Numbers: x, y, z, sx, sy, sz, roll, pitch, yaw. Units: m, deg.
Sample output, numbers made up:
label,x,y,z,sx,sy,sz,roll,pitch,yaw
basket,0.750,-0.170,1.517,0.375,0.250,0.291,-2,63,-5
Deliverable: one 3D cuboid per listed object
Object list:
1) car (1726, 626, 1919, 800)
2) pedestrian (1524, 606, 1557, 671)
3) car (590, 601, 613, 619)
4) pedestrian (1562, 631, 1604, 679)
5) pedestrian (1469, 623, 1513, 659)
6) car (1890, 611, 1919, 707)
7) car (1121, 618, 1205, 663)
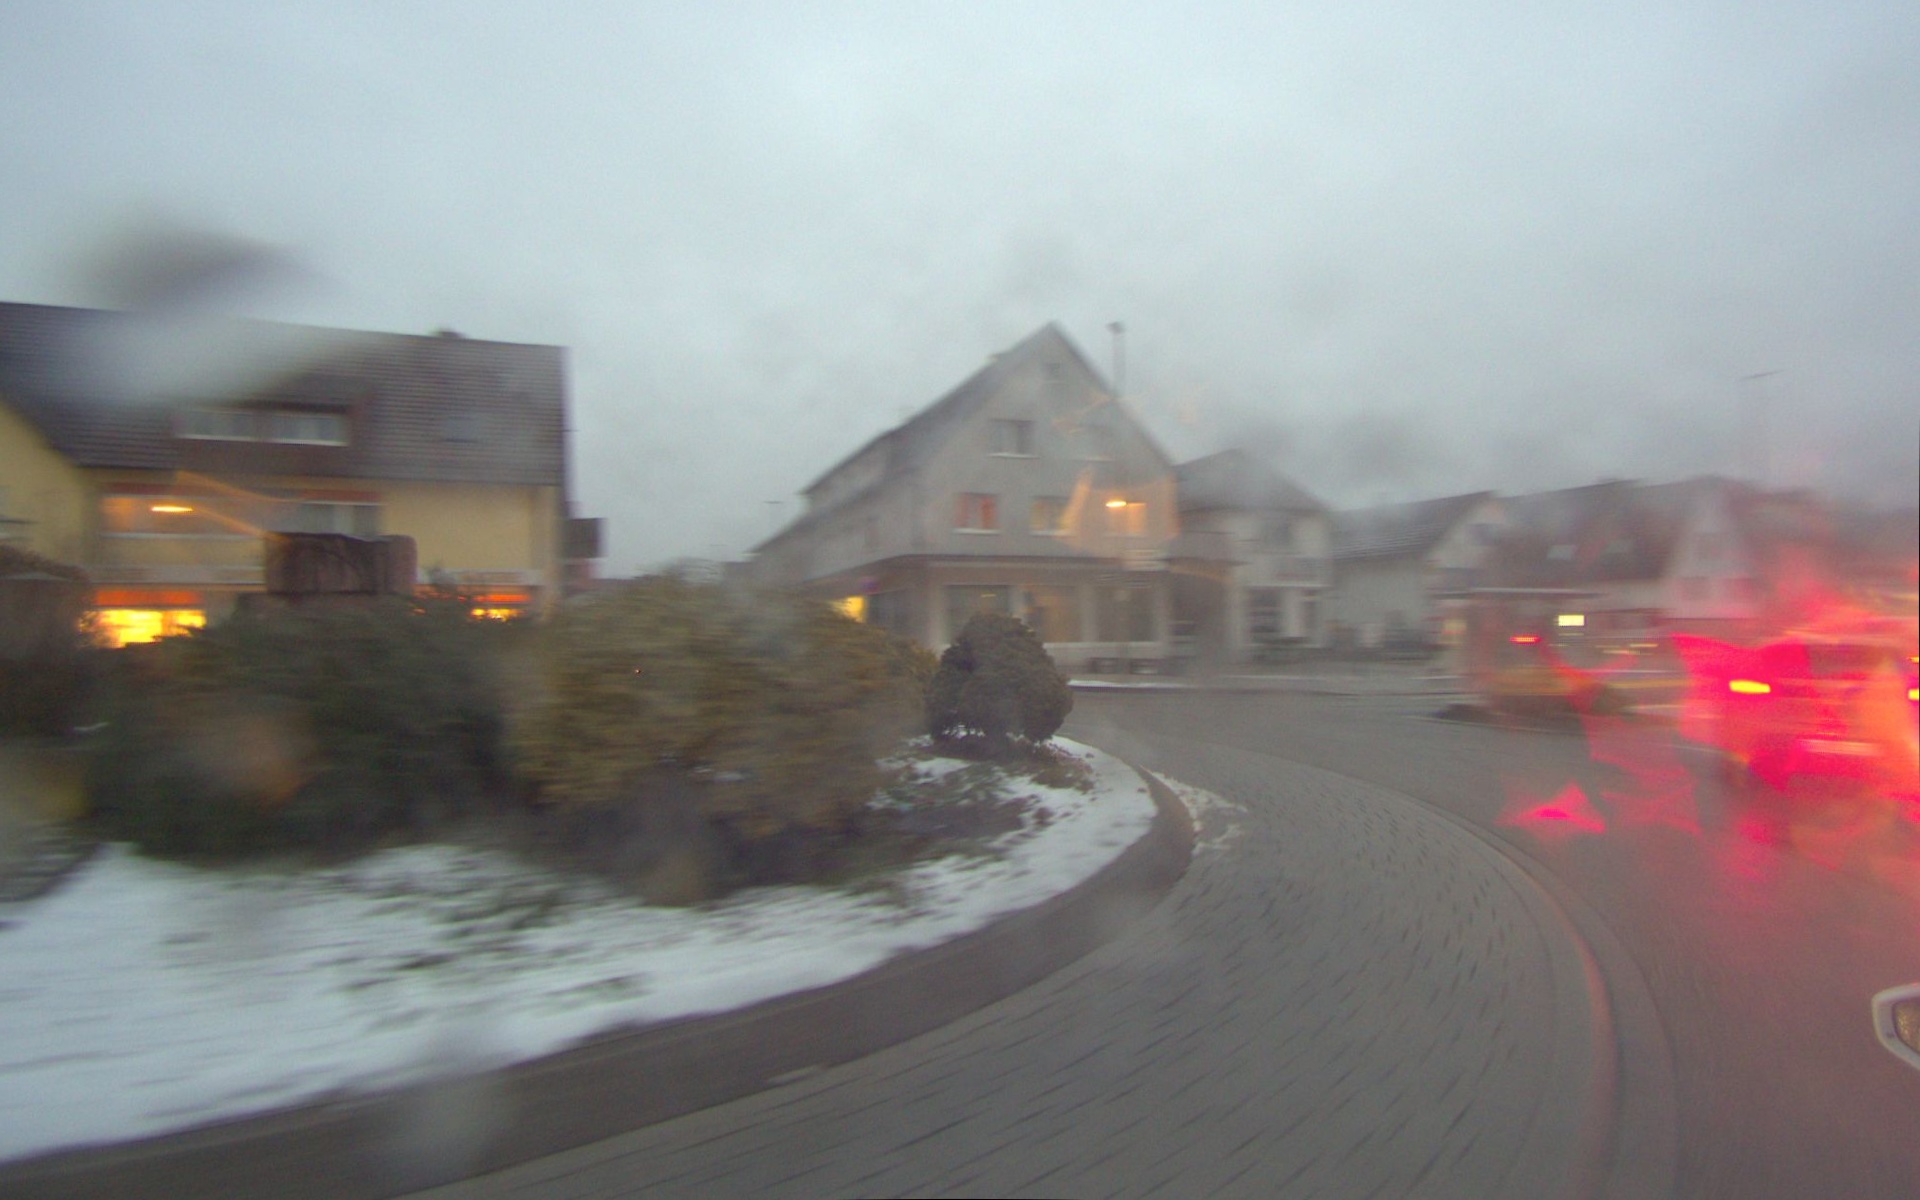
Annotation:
label,x,y,z,sx,sy,sz,roll,pitch,yaw
car,8.891,1.031,10.147,1.689,1.440,3.995,-1,-3,39
pedestrian,16.666,1.111,28.842,0.719,1.842,0.529,-1,-1,37
car,-34.683,0.973,97.086,1.853,1.705,3.978,-1,-1,-23
pedestrian,18.026,1.574,29.074,0.708,1.366,0.780,0,-1,-30
pedestrian,15.371,1.167,29.086,0.803,1.024,0.856,0,-1,-34
car,18.612,1.026,18.389,3.919,1.636,1.899,0,-1,-41
car,8.641,1.710,43.070,1.780,1.821,3.985,-1,-1,-18
